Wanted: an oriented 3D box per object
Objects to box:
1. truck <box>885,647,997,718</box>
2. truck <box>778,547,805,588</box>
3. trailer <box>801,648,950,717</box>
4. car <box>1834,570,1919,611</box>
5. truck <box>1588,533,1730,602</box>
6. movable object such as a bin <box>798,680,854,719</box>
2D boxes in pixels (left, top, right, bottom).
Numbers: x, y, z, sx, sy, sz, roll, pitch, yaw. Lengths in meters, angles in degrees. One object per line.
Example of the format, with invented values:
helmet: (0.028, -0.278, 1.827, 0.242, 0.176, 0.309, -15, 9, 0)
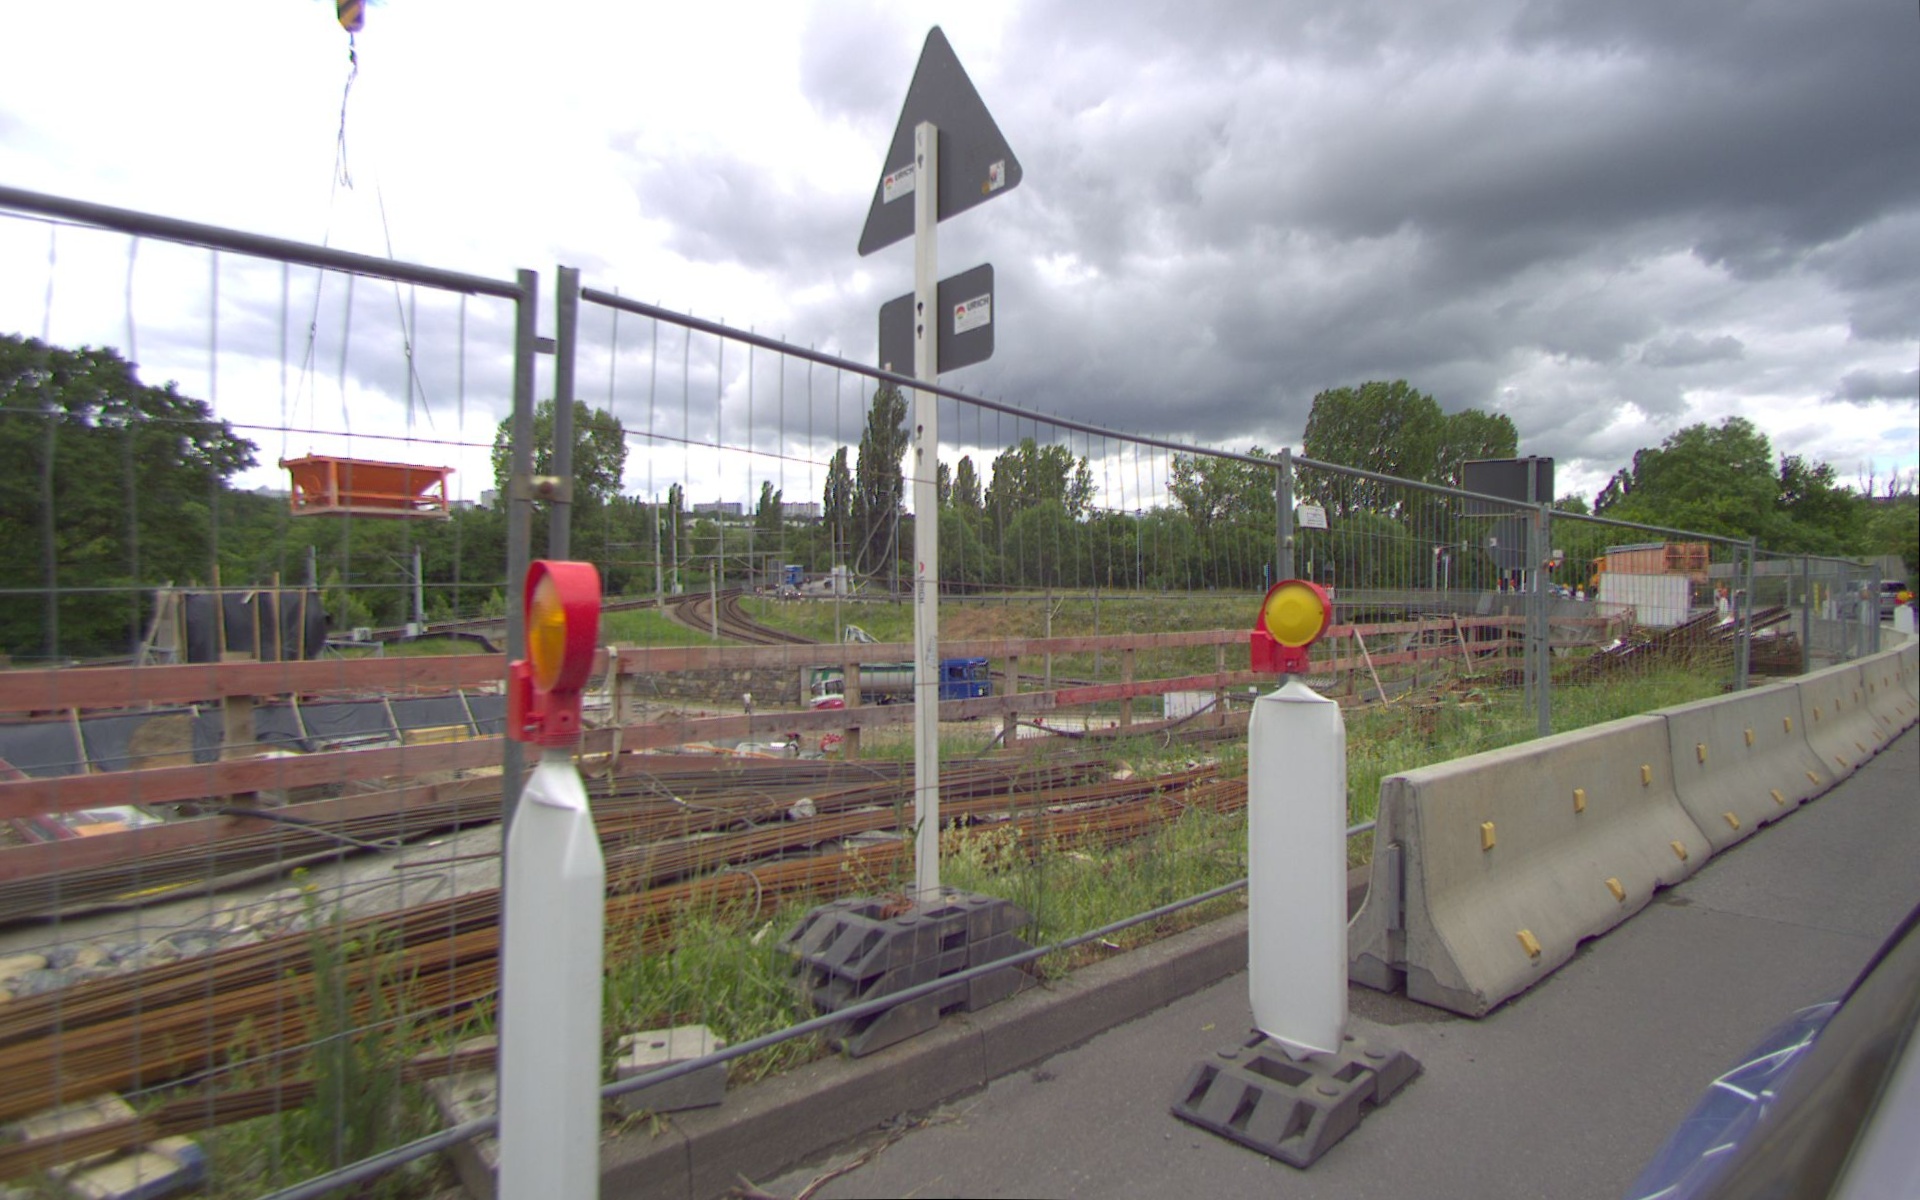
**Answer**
truck: (-1.142, 4.754, 58.848, 6.074, 3.810, 2.396, -2, 0, 28)
truck: (-23.037, -4.496, 138.907, 2.883, 3.140, 8.210, 5, 17, -7)
trailer: (-5.200, 4.888, 61.046, 9.055, 3.810, 2.396, -2, 0, 28)
car: (38.130, -0.414, 41.822, 1.874, 1.583, 4.068, -1, 0, 24)
truck: (43.522, -1.932, 63.524, 2.989, 3.947, 9.983, -1, 1, 7)
movable object such as a bin: (-7.494, 5.552, 56.604, 2.402, 1.851, 1.997, -1, 0, -41)
